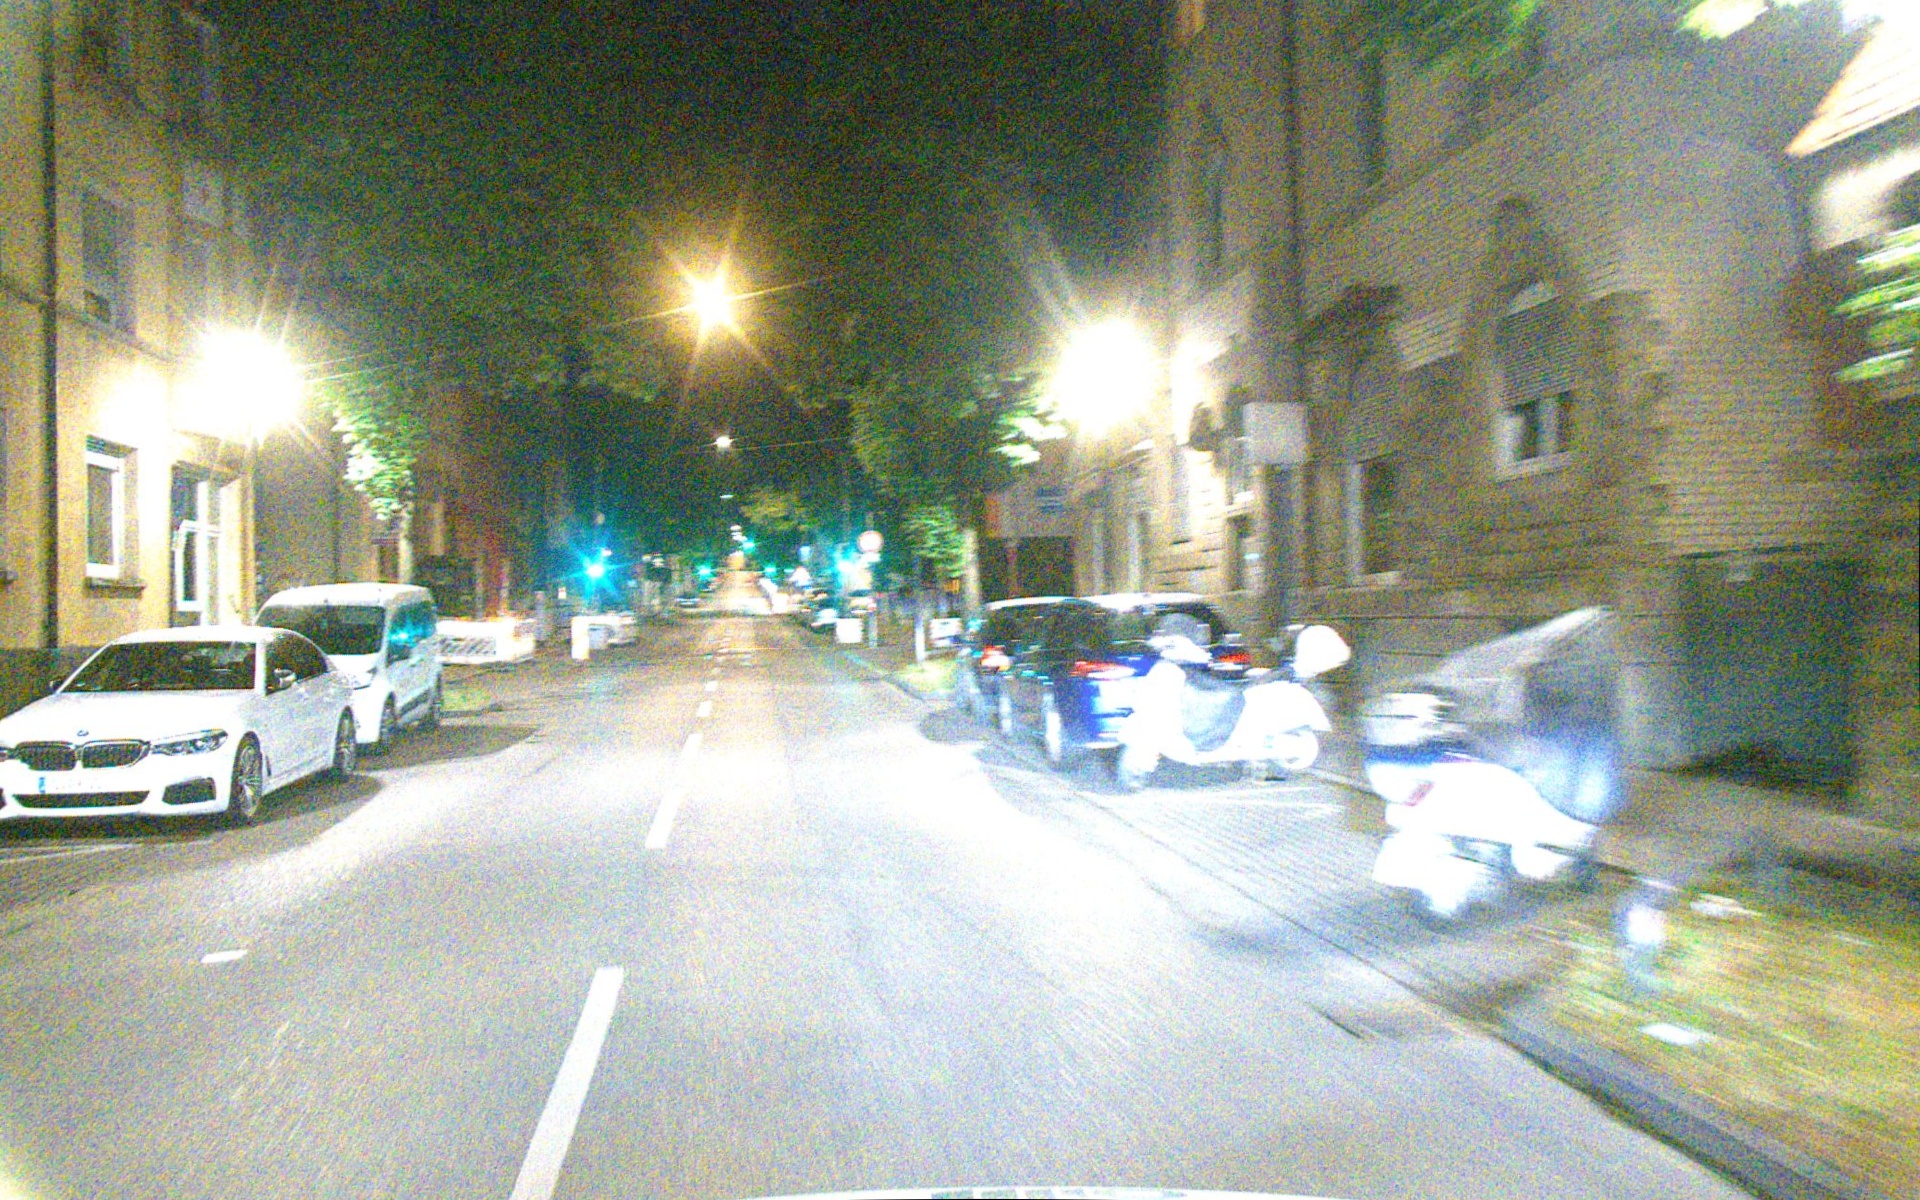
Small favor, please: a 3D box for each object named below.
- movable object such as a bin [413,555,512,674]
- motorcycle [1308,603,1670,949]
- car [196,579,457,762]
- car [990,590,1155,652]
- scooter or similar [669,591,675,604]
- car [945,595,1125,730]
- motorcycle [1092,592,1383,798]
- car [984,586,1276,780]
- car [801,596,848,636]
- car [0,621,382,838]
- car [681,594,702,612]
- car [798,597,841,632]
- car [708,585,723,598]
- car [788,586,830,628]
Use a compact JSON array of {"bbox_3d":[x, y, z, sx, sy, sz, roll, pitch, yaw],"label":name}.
[{"bbox_3d":[-11.985,0.333,40.055,1.541,2.672,3.904,-2,0,-6],"label":"movable object such as a bin"},{"bbox_3d":[2.517,0.730,7.736,1.929,1.377,0.751,-2,0,-43],"label":"motorcycle"},{"bbox_3d":[-7.335,0.729,19.679,1.848,1.875,4.805,-1,0,-8],"label":"car"},{"bbox_3d":[2.899,0.553,43.073,3.940,1.447,1.848,-2,-2,-9],"label":"car"},{"bbox_3d":[-29.631,-0.259,170.152,0.518,1.185,2.503,-3,-1,-8],"label":"scooter or similar"},{"bbox_3d":[0.837,0.715,20.827,1.703,1.479,3.995,-2,0,-5],"label":"car"},{"bbox_3d":[2.168,0.705,13.002,2.020,1.430,0.920,-3,0,-17],"label":"motorcycle"},{"bbox_3d":[1.439,0.690,15.784,1.700,1.527,4.458,-2,0,-8],"label":"car"},{"bbox_3d":[-5.635,0.629,68.323,1.707,1.503,3.994,-4,1,-7],"label":"car"},{"bbox_3d":[-6.423,0.939,14.048,1.804,1.475,4.874,0,0,-6],"label":"car"},{"bbox_3d":[-23.496,0.224,144.826,1.639,1.468,4.198,-1,1,-8],"label":"car"},{"bbox_3d":[-6.257,0.609,73.234,1.654,1.445,4.436,-2,0,-8],"label":"car"},{"bbox_3d":[-31.991,-1.150,216.392,1.838,1.571,4.198,-1,1,-8],"label":"car"},{"bbox_3d":[-7.247,0.331,79.198,1.703,1.887,4.307,-2,0,-9],"label":"car"}]
